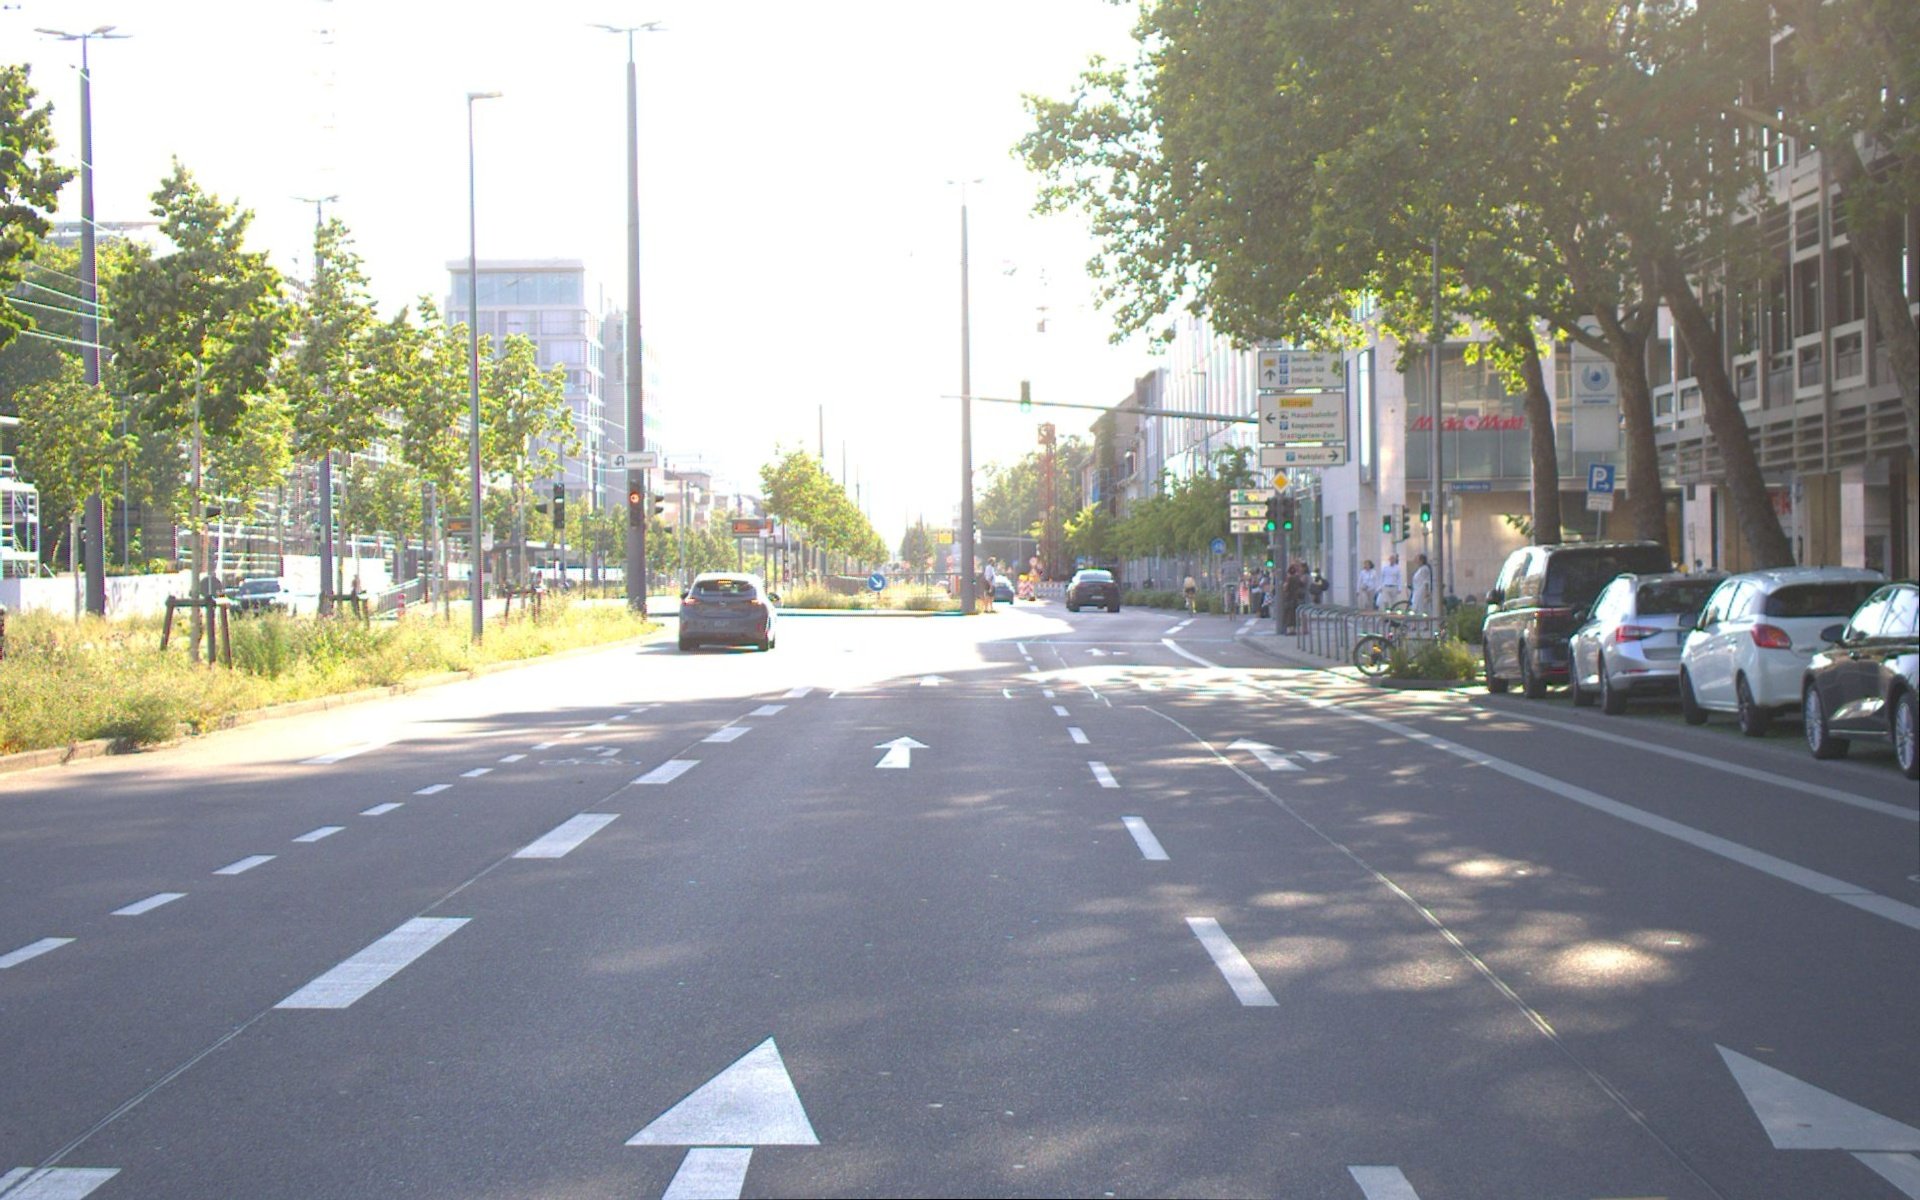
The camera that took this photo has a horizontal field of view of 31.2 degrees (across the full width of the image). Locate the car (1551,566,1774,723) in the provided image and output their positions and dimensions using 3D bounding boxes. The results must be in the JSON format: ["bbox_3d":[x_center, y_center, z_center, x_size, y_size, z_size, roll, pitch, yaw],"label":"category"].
[{"bbox_3d":[7.616,0.429,37.695,1.682,1.509,5.058,-3,1,4],"label":"car"}]

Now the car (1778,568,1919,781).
[{"bbox_3d":[7.477,0.483,25.651,1.706,1.413,4.276,-3,1,1],"label":"car"}]

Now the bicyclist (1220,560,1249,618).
[{"bbox_3d":[7.701,-0.314,96.547,0.800,1.596,0.785,0,1,5],"label":"bicyclist"}]

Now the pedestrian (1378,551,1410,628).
[{"bbox_3d":[11.742,-0.283,93.090,0.766,2.053,0.797,-2,1,7],"label":"pedestrian"}]

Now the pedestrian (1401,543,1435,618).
[{"bbox_3d":[10.547,-0.453,79.188,0.634,1.697,0.570,-2,0,1],"label":"pedestrian"}]

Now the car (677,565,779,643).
[{"bbox_3d":[-4.411,0.051,65.803,1.776,1.423,4.000,0,1,-2],"label":"car"}]

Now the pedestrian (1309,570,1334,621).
[{"bbox_3d":[12.483,-0.162,118.638,0.817,1.728,0.790,-1,1,4],"label":"pedestrian"}]

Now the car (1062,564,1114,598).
[{"bbox_3d":[5.409,-0.813,145.830,1.940,1.423,3.926,-1,1,-2],"label":"car"}]

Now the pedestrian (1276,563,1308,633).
[{"bbox_3d":[7.801,-0.047,80.771,0.634,1.602,0.570,-2,0,1],"label":"pedestrian"}]

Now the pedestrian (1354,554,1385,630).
[{"bbox_3d":[11.205,-0.217,94.008,0.766,2.053,0.797,-2,1,7],"label":"pedestrian"}]

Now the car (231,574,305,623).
[{"bbox_3d":[-26.065,-0.061,129.614,1.993,1.770,4.000,-1,1,0],"label":"car"}]

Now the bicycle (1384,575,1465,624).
[{"bbox_3d":[10.836,-0.005,80.280,1.804,1.082,0.479,-2,0,2],"label":"bicycle"}]

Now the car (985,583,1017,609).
[{"bbox_3d":[2.415,-0.264,203.666,1.759,1.480,3.850,-1,1,-2],"label":"car"}]

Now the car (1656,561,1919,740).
[{"bbox_3d":[7.698,0.418,31.865,1.681,1.473,3.874,-3,1,1],"label":"car"}]

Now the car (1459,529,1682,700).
[{"bbox_3d":[7.707,0.145,43.889,1.829,1.964,5.322,-3,1,0],"label":"car"}]

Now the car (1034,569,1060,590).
[{"bbox_3d":[6.249,-1.482,247.243,1.703,1.423,3.926,-1,1,-2],"label":"car"}]

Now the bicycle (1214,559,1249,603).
[{"bbox_3d":[7.621,-0.535,96.379,0.800,1.200,2.263,0,1,9],"label":"bicycle"}]

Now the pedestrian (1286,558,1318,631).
[{"bbox_3d":[8.100,-0.128,81.453,0.634,1.697,0.570,-2,0,1],"label":"pedestrian"}]

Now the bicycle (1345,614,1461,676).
[{"bbox_3d":[6.683,0.680,51.856,1.692,0.864,0.572,-2,0,9],"label":"bicycle"}]
